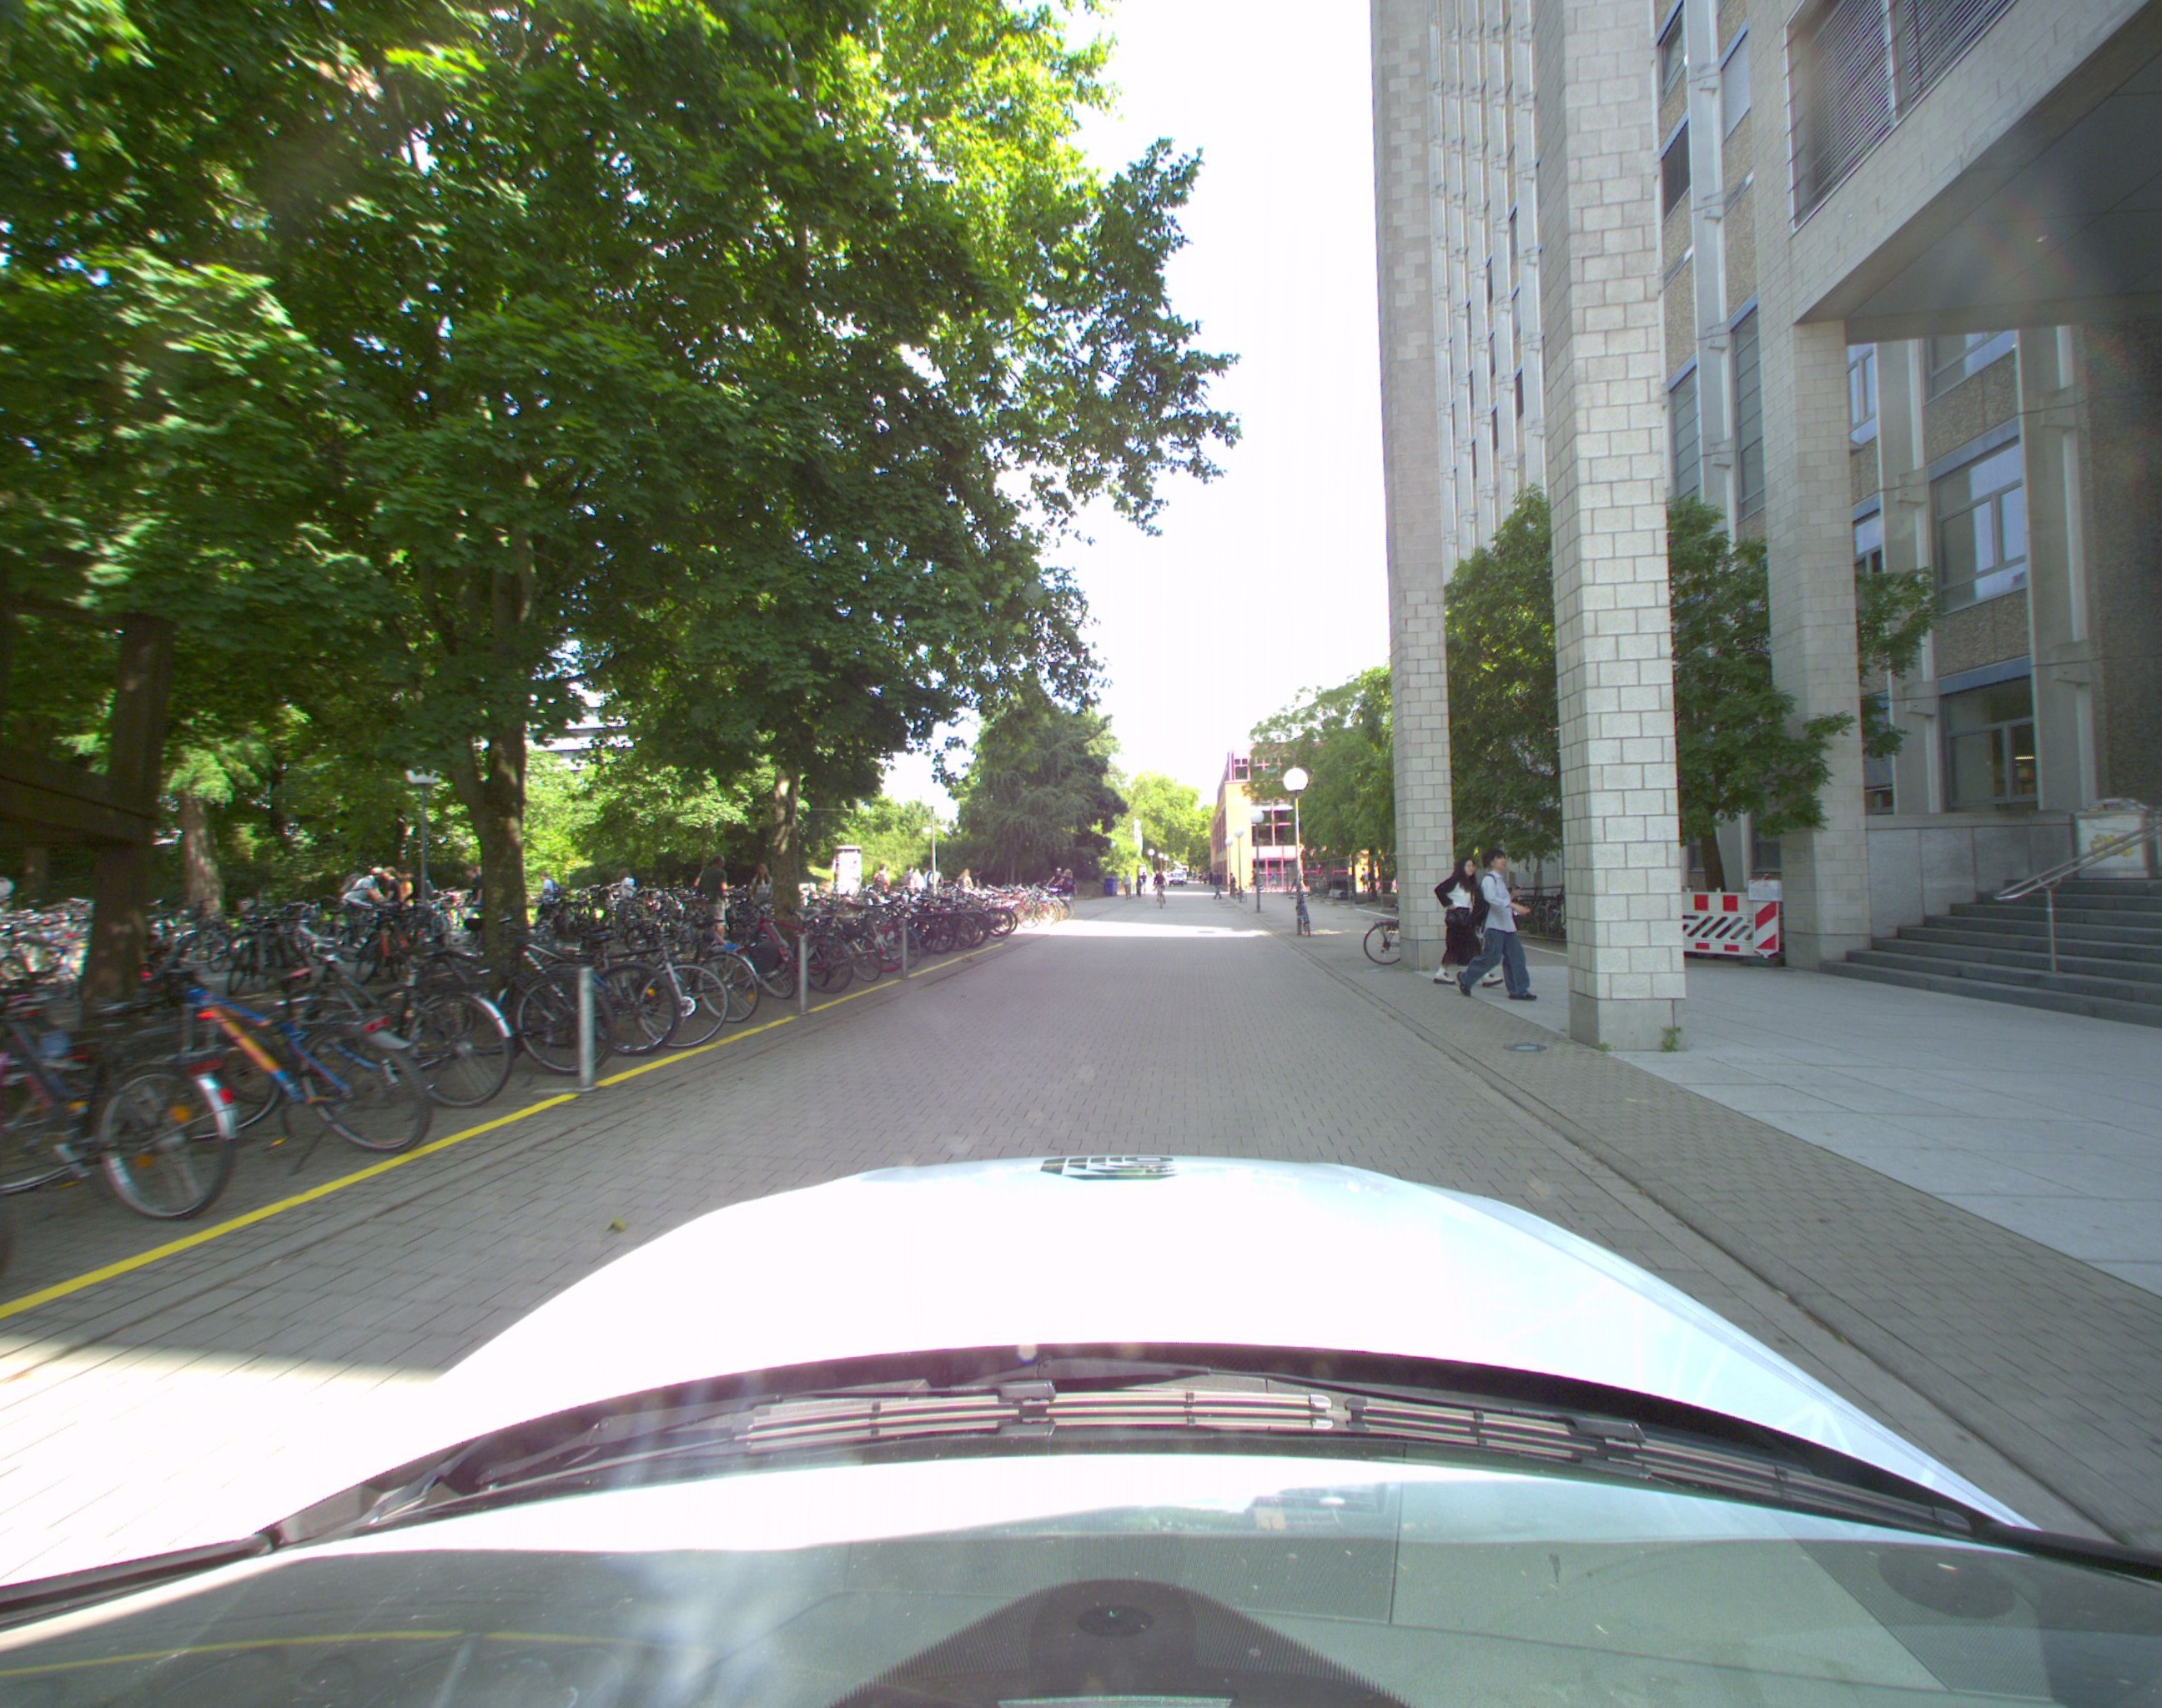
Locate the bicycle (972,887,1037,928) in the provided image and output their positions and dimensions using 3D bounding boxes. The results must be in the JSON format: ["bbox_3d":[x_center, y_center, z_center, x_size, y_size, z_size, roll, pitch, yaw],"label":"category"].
[{"bbox_3d":[-2.063,1.437,22.016,1.703,1.062,0.470,1,-2,-28],"label":"bicycle"}]

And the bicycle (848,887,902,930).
[{"bbox_3d":[-5.443,1.410,21.466,1.677,1.084,0.477,-2,-2,39],"label":"bicycle"}]

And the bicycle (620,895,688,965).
[{"bbox_3d":[-7.387,1.274,14.066,1.678,1.108,0.506,-2,-2,43],"label":"bicycle"}]

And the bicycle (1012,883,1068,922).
[{"bbox_3d":[-1.245,1.483,24.943,1.688,1.168,0.474,0,-2,1],"label":"bicycle"}]

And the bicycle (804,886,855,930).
[{"bbox_3d":[-6.508,1.373,21.016,1.678,1.084,0.477,-2,-2,43],"label":"bicycle"}]

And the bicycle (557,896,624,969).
[{"bbox_3d":[-8.124,1.264,13.458,1.678,1.108,0.506,-2,-2,43],"label":"bicycle"}]

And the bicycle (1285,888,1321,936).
[{"bbox_3d":[5.326,1.369,19.605,0.534,1.039,1.862,-2,-2,7],"label":"bicycle"}]

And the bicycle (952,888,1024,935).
[{"bbox_3d":[-2.237,1.382,19.667,1.691,1.108,0.581,0,-2,-4],"label":"bicycle"}]

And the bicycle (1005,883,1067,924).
[{"bbox_3d":[-1.334,1.452,24.095,1.760,1.168,0.476,-1,-2,20],"label":"bicycle"}]

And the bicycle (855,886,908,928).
[{"bbox_3d":[-5.414,1.414,22.080,1.677,1.084,0.477,-2,-2,39],"label":"bicycle"}]

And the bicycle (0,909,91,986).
[{"bbox_3d":[-16.597,1.446,12.926,0.475,1.084,1.841,1,-2,-30],"label":"bicycle"}]

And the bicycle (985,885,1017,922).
[{"bbox_3d":[-2.451,1.503,25.175,0.503,1.084,1.704,-1,-2,11],"label":"bicycle"}]

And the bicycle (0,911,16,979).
[{"bbox_3d":[-17.387,1.460,12.557,0.475,1.084,1.841,1,-2,-30],"label":"bicycle"}]

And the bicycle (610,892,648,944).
[{"bbox_3d":[-10.106,1.397,18.198,0.476,1.084,1.680,1,-2,-38],"label":"bicycle"}]

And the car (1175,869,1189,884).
[{"bbox_3d":[14.013,3.125,112.764,1.873,1.974,5.225,-1,-1,8],"label":"car"}]

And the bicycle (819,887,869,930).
[{"bbox_3d":[-6.249,1.411,21.429,1.678,1.084,0.477,-2,-2,43],"label":"bicycle"}]

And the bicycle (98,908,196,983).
[{"bbox_3d":[-15.498,1.484,13.566,0.475,1.084,1.841,1,-2,-30],"label":"bicycle"}]

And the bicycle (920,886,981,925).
[{"bbox_3d":[-3.715,1.450,23.120,1.680,1.084,0.476,-1,-2,20],"label":"bicycle"}]

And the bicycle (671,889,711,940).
[{"bbox_3d":[-9.033,1.373,18.831,0.476,1.084,1.680,1,-2,-38],"label":"bicycle"}]

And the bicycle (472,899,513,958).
[{"bbox_3d":[-11.808,1.468,16.373,0.475,1.084,1.683,1,-2,-30],"label":"bicycle"}]

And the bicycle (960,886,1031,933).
[{"bbox_3d":[-2.139,1.378,20.394,1.699,1.108,0.471,0,-2,-20],"label":"bicycle"}]

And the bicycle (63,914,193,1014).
[{"bbox_3d":[-12.292,1.368,10.565,0.504,1.108,1.762,1,-2,-30],"label":"bicycle"}]

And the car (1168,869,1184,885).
[{"bbox_3d":[11.619,2.789,99.264,1.780,1.762,4.490,-1,-1,8],"label":"car"}]

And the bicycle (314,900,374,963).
[{"bbox_3d":[-13.859,1.427,15.357,0.475,1.084,1.683,1,-2,-30],"label":"bicycle"}]

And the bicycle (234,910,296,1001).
[{"bbox_3d":[-11.216,1.351,11.222,0.505,1.108,1.679,1,-2,-42],"label":"bicycle"}]

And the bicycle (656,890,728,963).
[{"bbox_3d":[-6.935,1.249,14.497,1.678,1.200,0.579,-2,-2,43],"label":"bicycle"}]

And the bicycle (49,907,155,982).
[{"bbox_3d":[-16.047,1.444,13.400,0.475,1.084,1.841,1,-2,-30],"label":"bicycle"}]

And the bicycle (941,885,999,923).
[{"bbox_3d":[-3.287,1.474,24.151,1.680,1.084,0.476,-1,-2,20],"label":"bicycle"}]

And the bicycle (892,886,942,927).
[{"bbox_3d":[-4.554,1.426,22.553,1.678,1.084,0.477,-2,-2,43],"label":"bicycle"}]

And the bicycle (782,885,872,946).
[{"bbox_3d":[-5.204,1.248,16.732,1.691,1.220,0.502,0,-2,-4],"label":"bicycle"}]

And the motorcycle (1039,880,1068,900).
[{"bbox_3d":[-1.508,1.936,44.157,0.476,1.047,2.002,1,-1,-40],"label":"motorcycle"}]

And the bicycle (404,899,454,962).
[{"bbox_3d":[-12.481,1.436,15.619,0.475,1.084,1.683,1,-2,-30],"label":"bicycle"}]

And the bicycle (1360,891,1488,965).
[{"bbox_3d":[5.240,1.130,12.494,1.731,1.039,0.450,-2,0,2],"label":"bicycle"}]

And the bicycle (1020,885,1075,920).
[{"bbox_3d":[-1.051,1.524,25.687,1.688,1.091,0.474,0,-2,1],"label":"bicycle"}]

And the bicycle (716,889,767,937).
[{"bbox_3d":[-8.086,1.373,19.359,1.678,1.084,0.477,-2,-2,43],"label":"bicycle"}]

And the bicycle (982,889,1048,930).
[{"bbox_3d":[-1.742,1.457,21.620,1.703,1.019,0.470,1,-2,-28],"label":"bicycle"}]

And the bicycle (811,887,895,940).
[{"bbox_3d":[-4.961,1.285,17.770,1.691,1.108,0.502,0,-2,-4],"label":"bicycle"}]

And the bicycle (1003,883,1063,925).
[{"bbox_3d":[-1.372,1.433,23.383,1.691,1.168,0.473,0,-2,-6],"label":"bicycle"}]

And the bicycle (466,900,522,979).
[{"bbox_3d":[-9.190,1.295,12.735,0.505,1.108,1.679,1,-2,-42],"label":"bicycle"}]

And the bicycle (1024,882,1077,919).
[{"bbox_3d":[-0.965,1.495,26.152,1.689,1.159,0.474,0,-2,-2],"label":"bicycle"}]

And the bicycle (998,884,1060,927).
[{"bbox_3d":[-1.472,1.437,22.847,1.694,1.168,0.472,0,-2,-10],"label":"bicycle"}]

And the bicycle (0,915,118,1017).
[{"bbox_3d":[-12.928,1.361,10.215,0.504,1.108,1.762,1,-2,-30],"label":"bicycle"}]

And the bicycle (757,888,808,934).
[{"bbox_3d":[-7.433,1.392,20.270,1.678,1.084,0.477,-2,-2,43],"label":"bicycle"}]

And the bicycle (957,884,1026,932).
[{"bbox_3d":[-2.296,1.366,20.831,1.699,1.157,0.471,0,-2,-20],"label":"bicycle"}]

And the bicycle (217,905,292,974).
[{"bbox_3d":[-14.592,1.483,14.410,0.475,1.084,1.683,1,-2,-30],"label":"bicycle"}]

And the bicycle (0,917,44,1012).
[{"bbox_3d":[-13.263,1.353,9.649,0.504,1.108,1.888,1,-2,-30],"label":"bicycle"}]

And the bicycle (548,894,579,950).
[{"bbox_3d":[-10.945,1.406,17.246,0.475,1.084,1.683,1,-2,-30],"label":"bicycle"}]

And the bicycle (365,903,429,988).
[{"bbox_3d":[-10.152,1.312,12.069,0.635,1.108,1.679,1,-2,-43],"label":"bicycle"}]
